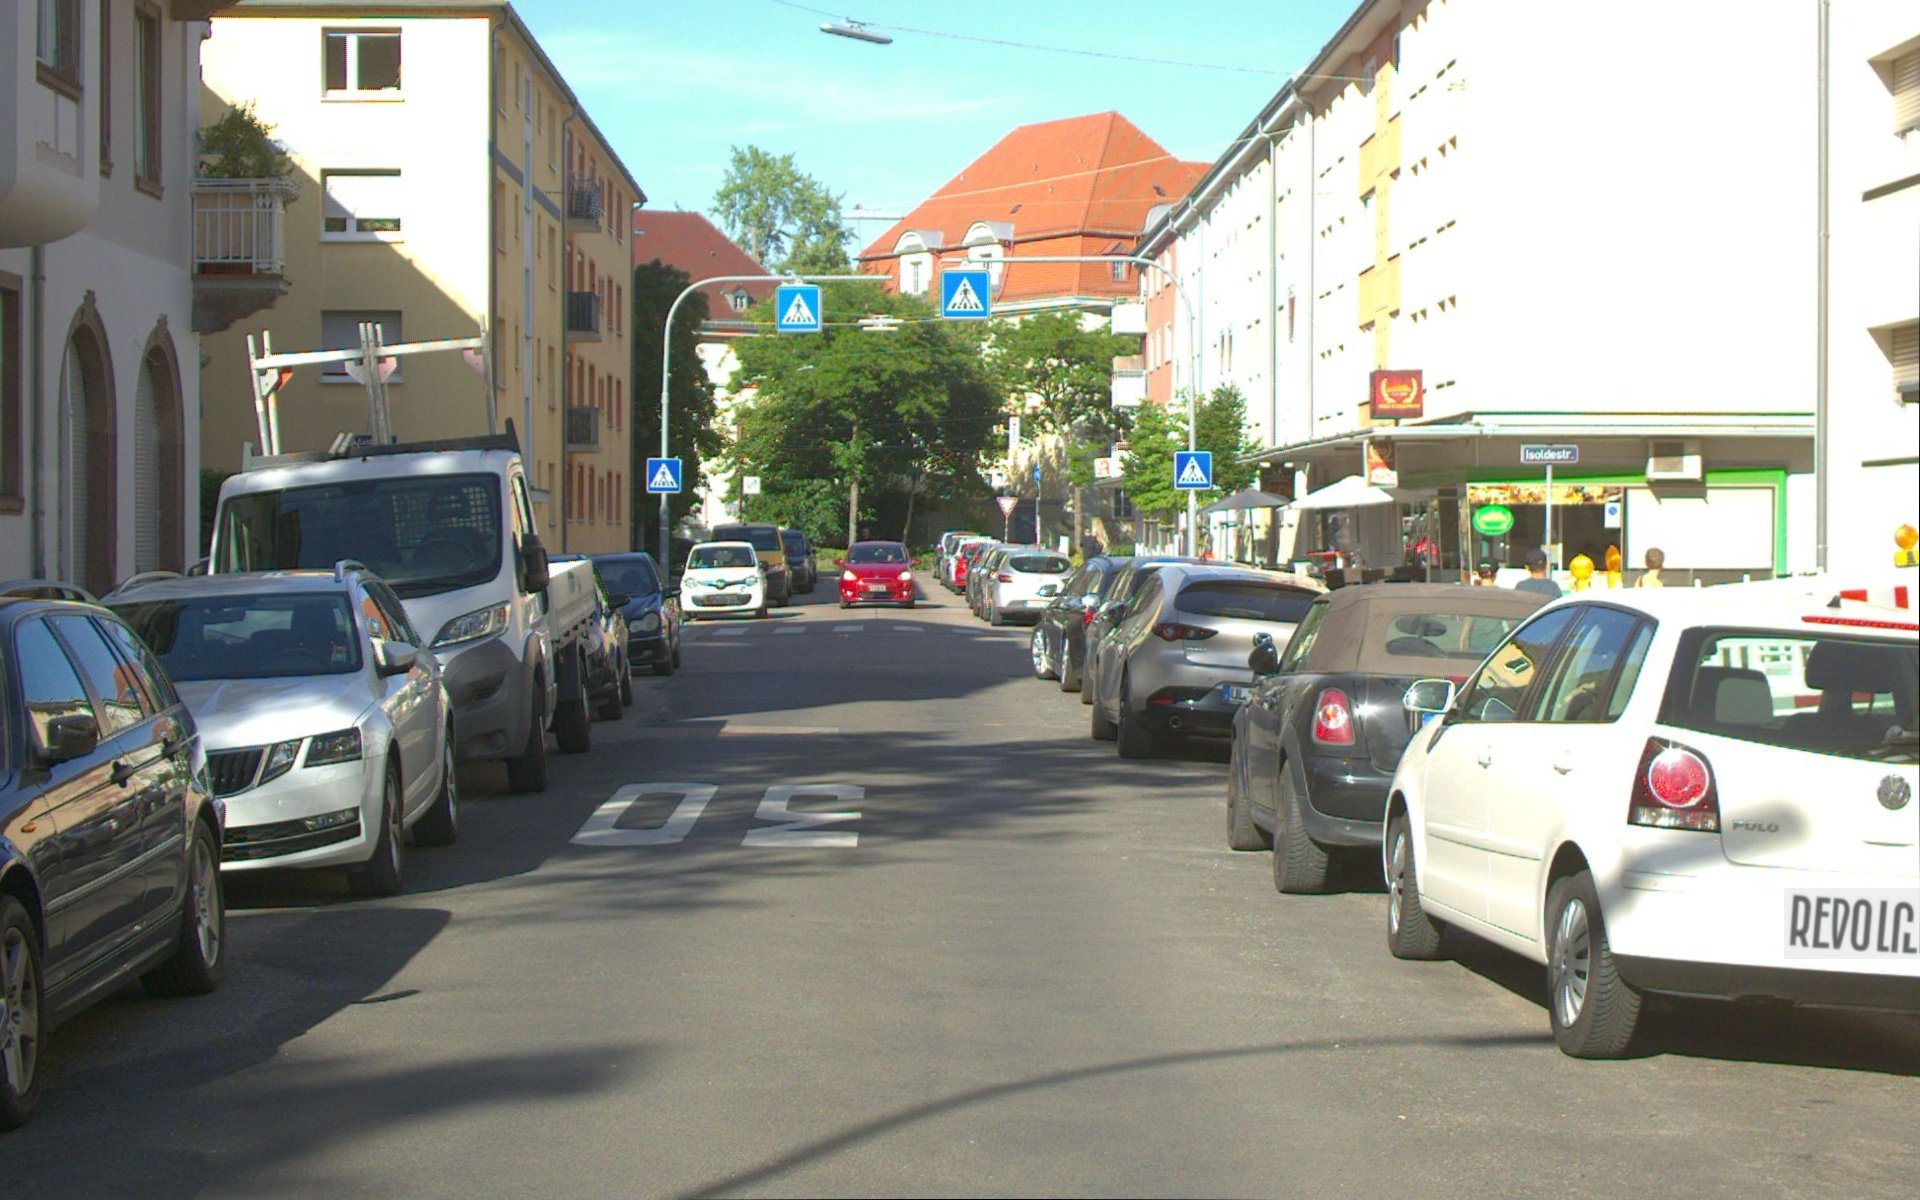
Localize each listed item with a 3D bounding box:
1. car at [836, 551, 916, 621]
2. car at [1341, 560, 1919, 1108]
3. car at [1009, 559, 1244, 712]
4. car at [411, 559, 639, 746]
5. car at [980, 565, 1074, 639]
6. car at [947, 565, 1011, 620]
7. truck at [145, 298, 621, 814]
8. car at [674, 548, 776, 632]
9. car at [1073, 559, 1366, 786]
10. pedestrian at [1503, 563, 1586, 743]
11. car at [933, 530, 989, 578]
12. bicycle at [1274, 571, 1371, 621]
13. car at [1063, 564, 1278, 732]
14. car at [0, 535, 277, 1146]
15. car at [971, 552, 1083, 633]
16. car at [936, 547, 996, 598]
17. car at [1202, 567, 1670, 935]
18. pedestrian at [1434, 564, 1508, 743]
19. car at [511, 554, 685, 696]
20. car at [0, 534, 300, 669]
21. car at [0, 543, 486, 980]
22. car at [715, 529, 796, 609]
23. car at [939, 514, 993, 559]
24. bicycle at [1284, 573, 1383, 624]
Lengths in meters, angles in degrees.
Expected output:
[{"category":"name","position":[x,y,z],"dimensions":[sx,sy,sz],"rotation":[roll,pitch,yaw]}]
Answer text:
[{"category":"car","position":[-1.837,-0.326,76.057],"dimensions":[1.697,1.436,3.419],"rotation":[-1,2,-1]},{"category":"car","position":[2.544,0.678,11.760],"dimensions":[1.685,1.457,3.820],"rotation":[5,1,-4]},{"category":"car","position":[1.707,0.329,36.912],"dimensions":[1.853,1.518,4.778],"rotation":[0,1,-5]},{"category":"car","position":[-3.811,0.410,30.661],"dimensions":[1.645,1.411,4.082],"rotation":[-5,1,-3]},{"category":"car","position":[1.334,0.018,69.817],"dimensions":[1.690,1.436,3.419],"rotation":[0,1,-3]},{"category":"car","position":[0.514,-0.230,96.185],"dimensions":[1.637,1.436,3.419],"rotation":[-1,2,-2]},{"category":"truck","position":[-3.713,-0.326,23.660],"dimensions":[2.259,2.976,7.277],"rotation":[-1,1,-2]},{"category":"car","position":[-4.693,-0.227,69.185],"dimensions":[1.791,1.475,4.099],"rotation":[-2,2,-1]},{"category":"car","position":[1.888,0.483,26.260],"dimensions":[1.792,1.466,4.339],"rotation":[3,1,-1]},{"category":"pedestrian","position":[4.773,0.428,28.062],"dimensions":[0.575,1.428,0.471],"rotation":[-1,2,16]},{"category":"car","position":[0.020,-1.449,107.325],"dimensions":[1.637,1.436,3.419],"rotation":[-1,2,-2]},{"category":"bicycle","position":[7.242,-0.085,68.684],"dimensions":[1.806,0.964,0.674],"rotation":[-1,1,-11]},{"category":"car","position":[1.908,0.403,32.156],"dimensions":[1.645,1.455,3.940],"rotation":[0,1,-2]},{"category":"car","position":[-3.371,0.598,10.266],"dimensions":[1.792,1.557,4.460],"rotation":[-1,1,-1]},{"category":"car","position":[1.238,-0.161,64.995],"dimensions":[1.845,1.436,3.419],"rotation":[-1,2,-3]},{"category":"car","position":[0.163,-0.837,102.535],"dimensions":[1.637,1.436,3.419],"rotation":[-1,2,-2]},{"category":"car","position":[2.181,0.635,16.648],"dimensions":[1.688,1.462,3.583],"rotation":[2,2,-1]},{"category":"pedestrian","position":[4.174,0.433,28.059],"dimensions":[0.506,1.428,0.451],"rotation":[-2,2,15]},{"category":"car","position":[-4.140,0.246,39.873],"dimensions":[1.703,1.411,4.375],"rotation":[-5,1,-3]},{"category":"car","position":[-10.756,-0.002,43.561],"dimensions":[4.463,1.610,1.779],"rotation":[-1,2,-19]},{"category":"car","position":[-3.434,0.635,16.464],"dimensions":[1.792,1.535,4.642],"rotation":[-6,2,-3]},{"category":"car","position":[-4.740,-0.747,80.233],"dimensions":[1.697,1.772,4.099],"rotation":[-1,2,-1]},{"category":"car","position":[0.182,-2.077,111.706],"dimensions":[1.637,1.436,3.419],"rotation":[-1,2,-2]},{"category":"bicycle","position":[7.393,-0.031,68.079],"dimensions":[1.806,0.964,0.674],"rotation":[-1,1,-11]}]
